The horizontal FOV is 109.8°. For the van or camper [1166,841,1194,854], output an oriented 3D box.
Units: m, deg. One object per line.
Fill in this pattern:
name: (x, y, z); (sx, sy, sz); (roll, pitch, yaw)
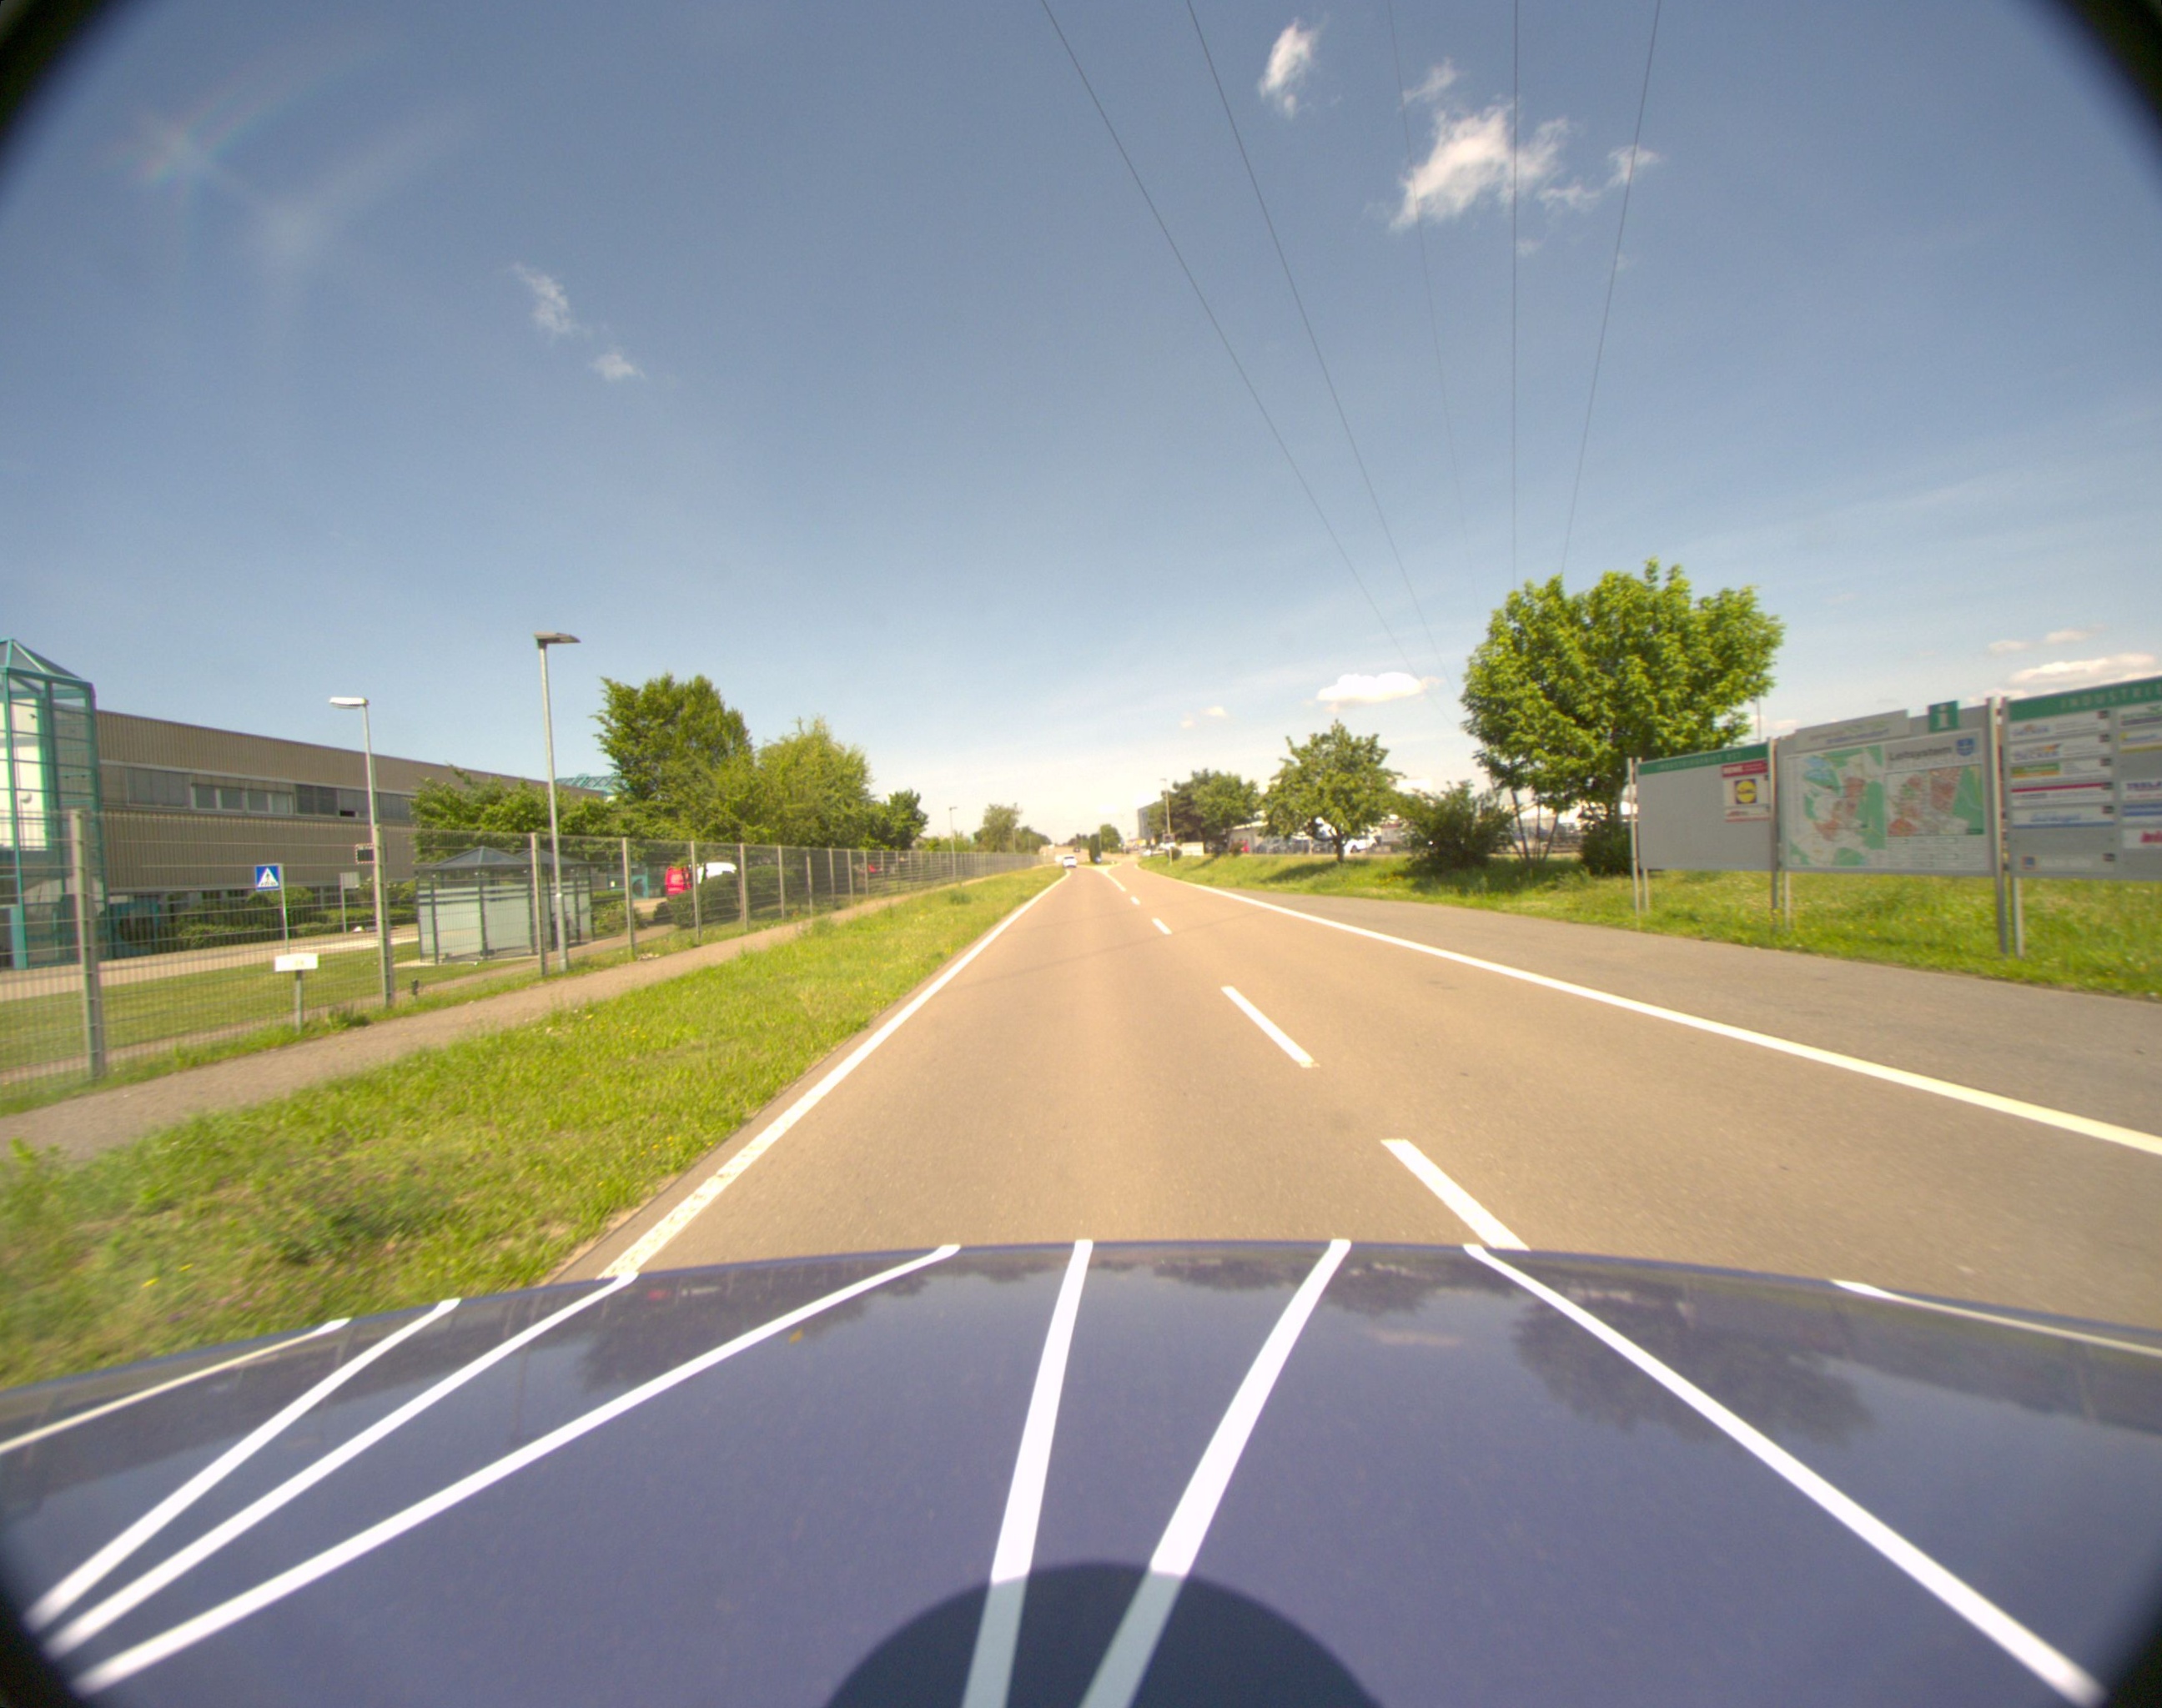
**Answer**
van or camper: (21.342, -1.451, 163.423); (5.576, 2.483, 2.081); (-3, 1, 23)

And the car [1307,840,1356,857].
car: (22.302, -0.495, 67.601); (4.005, 1.302, 1.938); (-4, 0, -31)

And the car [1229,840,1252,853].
car: (22.914, -1.087, 109.355); (1.999, 1.734, 4.227); (-3, 1, -6)

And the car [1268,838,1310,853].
car: (21.145, -0.875, 77.198); (4.006, 1.302, 1.938); (-4, 0, -33)

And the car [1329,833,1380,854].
car: (23.079, -0.898, 64.132); (4.006, 1.531, 1.938); (-4, 0, -33)

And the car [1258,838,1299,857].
car: (20.912, -0.684, 80.458); (4.115, 1.695, 1.719); (-4, 1, -33)

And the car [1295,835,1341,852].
car: (22.283, -0.971, 71.384); (4.006, 1.302, 1.938); (-4, 0, -33)

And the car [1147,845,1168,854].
car: (15.413, -0.839, 152.522); (3.996, 1.510, 2.000); (-3, 1, 3)

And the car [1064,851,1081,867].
car: (-1.155, 0.683, 105.007); (1.998, 1.904, 4.000); (-3, 1, 3)

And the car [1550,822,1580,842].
car: (43.354, -1.982, 68.093); (1.938, 1.564, 4.006); (-4, 0, 29)

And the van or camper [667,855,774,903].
van or camper: (-23.772, 1.612, 50.319); (5.788, 2.504, 1.999); (-6, 1, -6)
